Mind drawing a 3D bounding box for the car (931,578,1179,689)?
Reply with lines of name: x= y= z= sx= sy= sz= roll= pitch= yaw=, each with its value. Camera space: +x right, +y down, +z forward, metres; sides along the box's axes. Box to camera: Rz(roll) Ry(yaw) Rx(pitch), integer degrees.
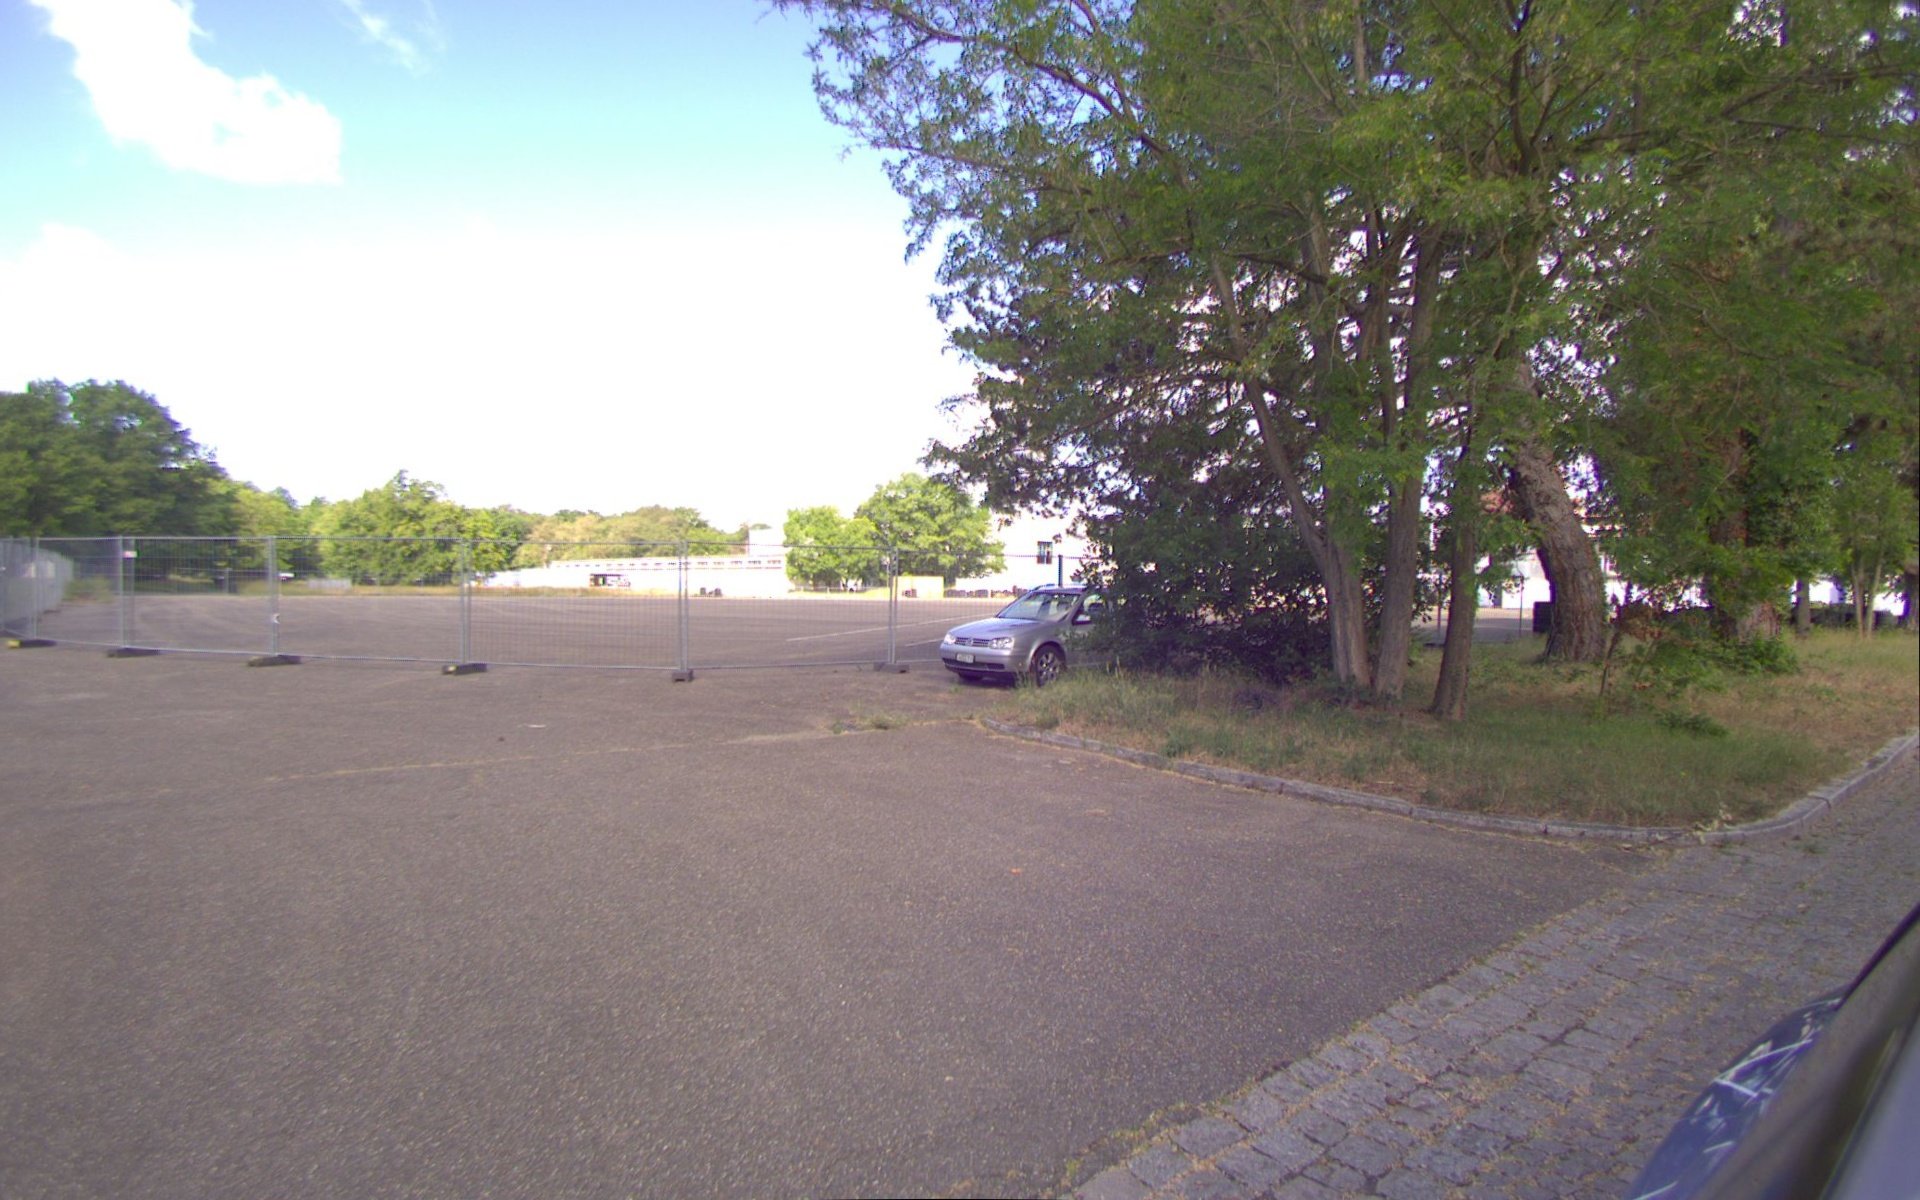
car: x=1.543 y=0.425 z=15.404 sx=3.920 sy=1.462 sz=1.576 roll=0 pitch=1 yaw=-44
